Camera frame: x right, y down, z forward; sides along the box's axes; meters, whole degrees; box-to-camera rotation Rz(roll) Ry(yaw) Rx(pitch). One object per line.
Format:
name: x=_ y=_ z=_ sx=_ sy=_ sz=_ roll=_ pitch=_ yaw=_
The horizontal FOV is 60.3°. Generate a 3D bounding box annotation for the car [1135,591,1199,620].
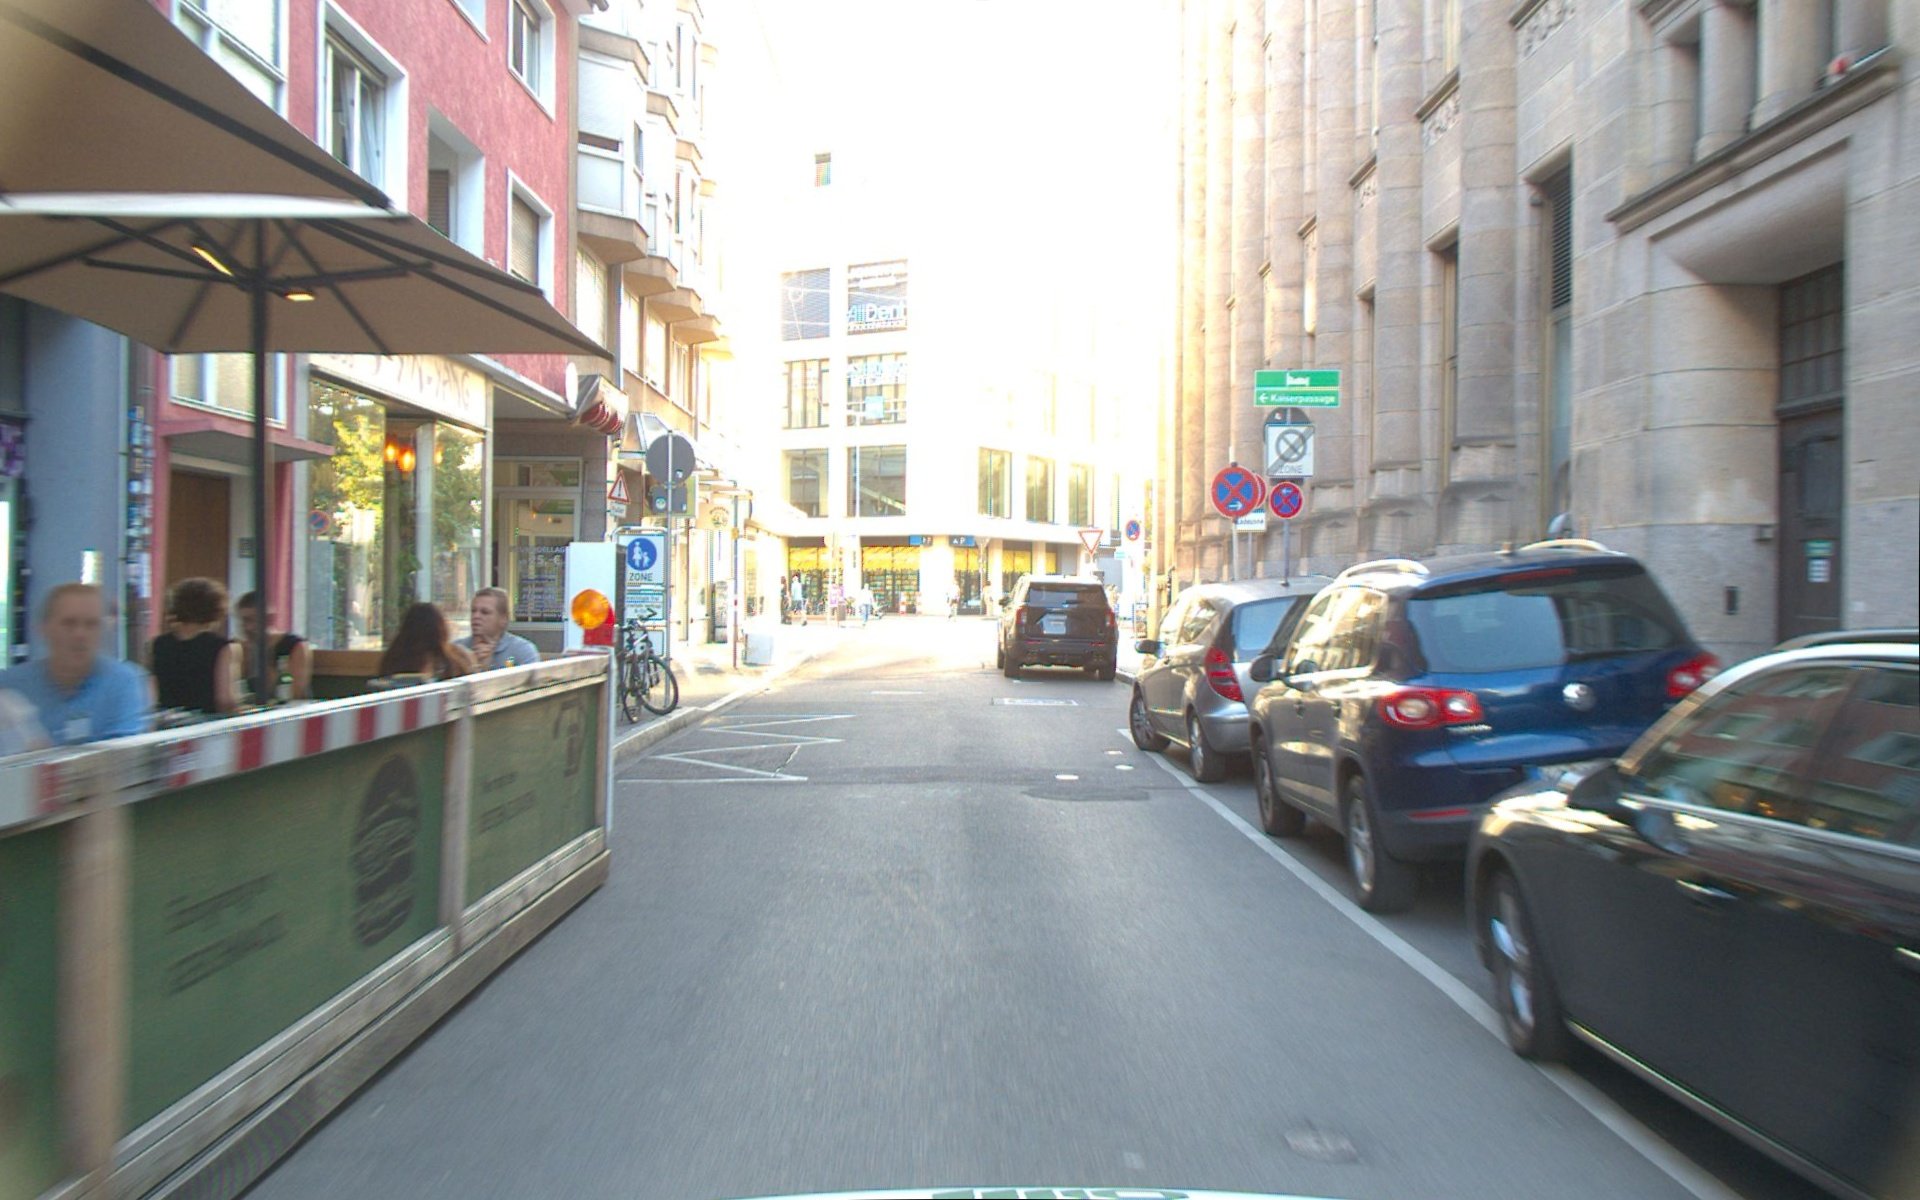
car: x=12.014 y=0.316 z=95.797 sx=1.849 sy=1.626 sz=4.677 roll=0 pitch=0 yaw=32

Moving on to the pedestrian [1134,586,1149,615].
pedestrian: x=10.924 y=0.022 z=99.537 sx=0.659 sy=1.704 sz=0.646 roll=1 pitch=0 yaw=28

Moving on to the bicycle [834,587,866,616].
bicycle: x=-4.908 y=0.070 z=74.147 sx=0.502 sy=1.277 sz=1.977 roll=1 pitch=0 yaw=26

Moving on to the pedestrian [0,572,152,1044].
pedestrian: x=-2.396 y=0.474 z=4.040 sx=0.599 sy=1.081 sz=0.546 roll=1 pitch=-1 yaw=-9

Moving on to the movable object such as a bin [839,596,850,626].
movable object such as a bin: x=-4.248 y=0.399 z=60.744 sx=0.352 sy=1.082 sz=0.355 roll=0 pitch=0 yaw=-11

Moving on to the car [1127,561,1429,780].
car: x=2.682 y=0.541 z=14.869 sx=1.738 sy=1.695 sz=3.997 roll=0 pitch=0 yaw=-4

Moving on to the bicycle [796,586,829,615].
bicycle: x=-6.702 y=0.025 z=75.286 sx=0.502 sy=1.277 sz=1.976 roll=1 pitch=0 yaw=27

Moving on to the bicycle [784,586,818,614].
bicycle: x=-7.273 y=0.004 z=75.564 sx=0.502 sy=1.277 sz=1.976 roll=1 pitch=0 yaw=28

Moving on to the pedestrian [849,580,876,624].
pedestrian: x=-3.691 y=0.078 z=62.807 sx=0.794 sy=1.641 sz=0.727 roll=1 pitch=0 yaw=-30

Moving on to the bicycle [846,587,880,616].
bicycle: x=-4.335 y=0.071 z=73.893 sx=0.569 sy=1.277 sz=2.042 roll=1 pitch=0 yaw=26

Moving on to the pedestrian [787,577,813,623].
pedestrian: x=-5.758 y=0.015 z=59.579 sx=0.716 sy=1.641 sz=0.805 roll=0 pitch=0 yaw=10

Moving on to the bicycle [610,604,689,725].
bicycle: x=-3.320 y=0.662 z=17.812 sx=0.532 sy=1.212 sz=1.842 roll=1 pitch=0 yaw=-1

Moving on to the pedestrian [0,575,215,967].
pedestrian: x=-2.596 y=0.474 z=4.855 sx=0.599 sy=1.081 sz=0.546 roll=1 pitch=-1 yaw=-9

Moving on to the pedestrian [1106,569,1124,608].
pedestrian: x=6.816 y=-0.528 z=72.808 sx=0.688 sy=1.699 sz=0.643 roll=0 pitch=1 yaw=17

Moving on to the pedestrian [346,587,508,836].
pedestrian: x=-2.396 y=0.489 z=7.484 sx=0.599 sy=1.081 sz=0.546 roll=1 pitch=-1 yaw=-9

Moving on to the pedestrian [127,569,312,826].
pedestrian: x=-3.246 y=0.416 z=7.290 sx=0.599 sy=1.081 sz=0.546 roll=1 pitch=-1 yaw=-9

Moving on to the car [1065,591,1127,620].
car: x=7.284 y=0.294 z=88.262 sx=1.744 sy=1.478 sz=4.224 roll=0 pitch=0 yaw=29

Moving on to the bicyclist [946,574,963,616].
bicyclist: x=-0.225 y=-0.213 z=69.722 sx=0.668 sy=1.725 sz=0.644 roll=1 pitch=0 yaw=-4

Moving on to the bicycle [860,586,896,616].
bicycle: x=-3.650 y=0.049 z=73.579 sx=0.651 sy=1.277 sz=2.138 roll=1 pitch=0 yaw=26

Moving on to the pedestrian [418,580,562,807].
pedestrian: x=-2.316 y=0.449 z=8.199 sx=0.599 sy=1.081 sz=0.546 roll=1 pitch=-1 yaw=-9

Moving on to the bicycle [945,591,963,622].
bicycle: x=-0.253 y=0.257 z=69.986 sx=0.598 sy=1.277 sz=1.977 roll=1 pitch=0 yaw=-5

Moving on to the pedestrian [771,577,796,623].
pedestrian: x=-6.262 y=0.001 z=58.715 sx=0.716 sy=1.641 sz=0.805 roll=0 pitch=0 yaw=7

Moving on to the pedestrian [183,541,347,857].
pedestrian: x=-3.410 y=0.474 z=8.153 sx=0.599 sy=1.498 sz=0.546 roll=1 pitch=-1 yaw=-9

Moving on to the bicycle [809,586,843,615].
bicycle: x=-6.048 y=0.042 z=74.877 sx=0.502 sy=1.277 sz=1.976 roll=1 pitch=0 yaw=28

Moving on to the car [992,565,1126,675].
car: x=1.692 y=0.314 z=29.978 sx=1.953 sy=1.814 sz=4.932 roll=0 pitch=0 yaw=-2

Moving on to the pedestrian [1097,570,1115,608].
pedestrian: x=6.502 y=-0.506 z=73.776 sx=0.688 sy=1.699 sz=0.643 roll=0 pitch=1 yaw=17

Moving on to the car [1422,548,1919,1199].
car: x=2.669 y=0.675 z=3.966 sx=1.655 sy=1.543 sz=4.990 roll=1 pitch=0 yaw=-1

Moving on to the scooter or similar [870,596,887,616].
scooter or similar: x=-3.701 y=0.269 z=75.185 sx=0.379 sy=0.899 sz=0.769 roll=1 pitch=-1 yaw=28

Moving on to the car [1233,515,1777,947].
car: x=2.720 y=0.558 z=9.307 sx=1.636 sy=1.838 sz=4.239 roll=1 pitch=0 yaw=0

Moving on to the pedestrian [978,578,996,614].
pedestrian: x=1.327 y=-0.176 z=81.869 sx=0.659 sy=1.775 sz=0.646 roll=0 pitch=0 yaw=30

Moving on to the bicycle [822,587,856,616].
bicycle: x=-5.449 y=0.065 z=74.430 sx=0.502 sy=1.277 sz=1.975 roll=1 pitch=0 yaw=30

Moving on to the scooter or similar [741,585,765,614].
scooter or similar: x=-9.248 y=-0.014 z=74.015 sx=0.379 sy=1.282 sz=1.269 roll=1 pitch=-1 yaw=28
